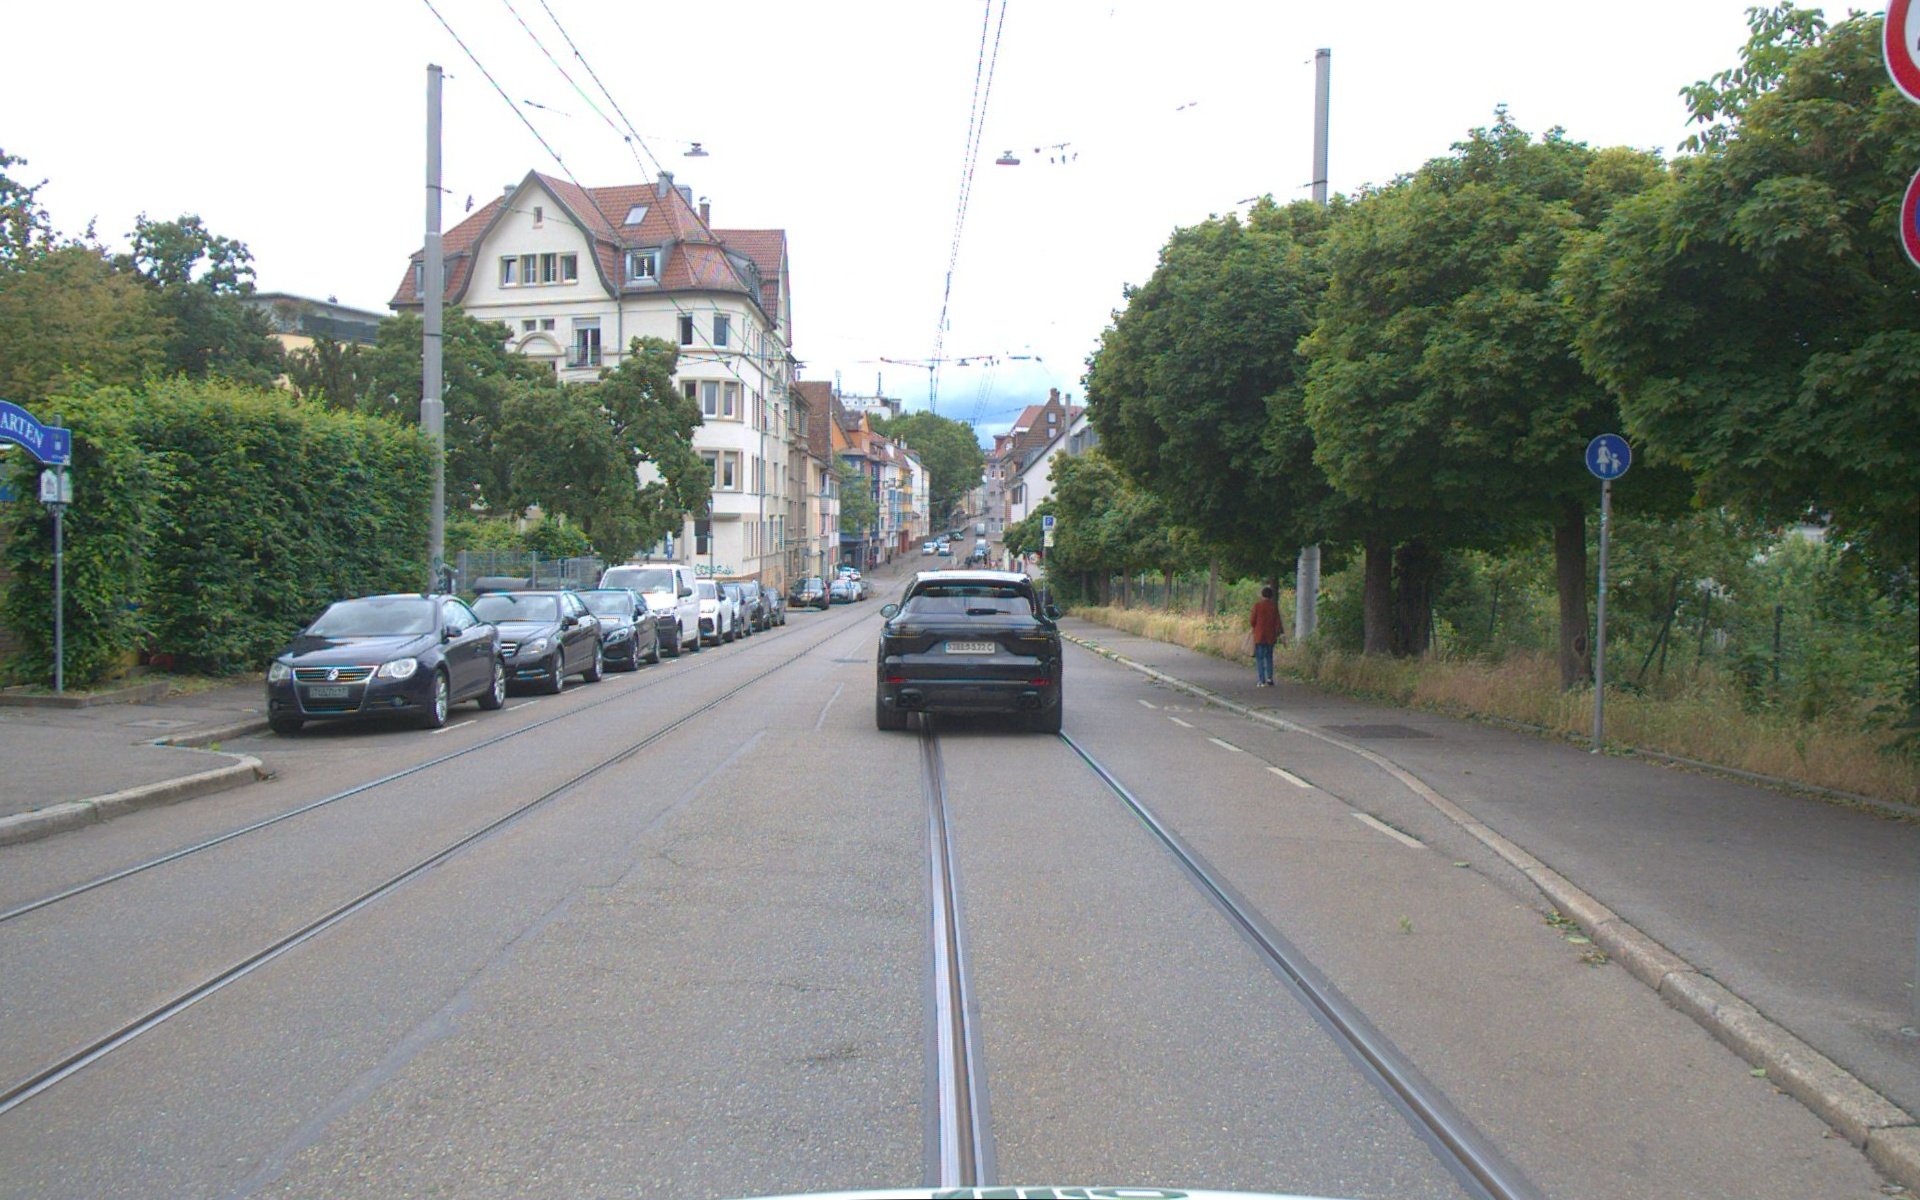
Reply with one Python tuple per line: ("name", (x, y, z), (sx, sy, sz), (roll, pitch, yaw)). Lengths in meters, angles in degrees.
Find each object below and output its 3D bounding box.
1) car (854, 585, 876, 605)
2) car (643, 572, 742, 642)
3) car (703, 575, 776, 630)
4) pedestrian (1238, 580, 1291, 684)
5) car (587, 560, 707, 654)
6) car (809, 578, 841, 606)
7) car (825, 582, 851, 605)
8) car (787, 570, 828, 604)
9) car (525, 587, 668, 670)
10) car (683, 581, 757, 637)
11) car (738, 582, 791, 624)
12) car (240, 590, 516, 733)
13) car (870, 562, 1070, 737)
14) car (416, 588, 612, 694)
("car", (-7.431, -0.363, 129.379), (1.588, 1.499, 4.554), (0, -1, -2))
("car", (-6.791, 0.188, 42.451), (1.929, 1.716, 4.631), (0, -1, -2))
("car", (-7.180, 0.098, 54.204), (1.929, 1.716, 4.442), (0, -1, -2))
("pedestrian", (4.886, 0.506, 26.583), (0.700, 1.649, 0.718), (1, 0, -1))
("car", (-6.843, 0.170, 36.634), (1.929, 1.946, 4.733), (0, -1, -2))
("car", (-7.469, -0.441, 91.444), (1.588, 1.489, 3.744), (0, -1, -2))
("car", (-8.081, -0.394, 109.981), (1.588, 1.489, 4.031), (0, -1, -2))
("car", (-7.832, -0.666, 85.309), (1.830, 1.674, 4.400), (0, -1, -2))
("car", (-6.628, 0.505, 30.629), (1.803, 1.411, 4.516), (0, -1, -2))
("car", (-6.895, 0.269, 47.876), (1.703, 1.535, 3.867), (0, -1, -2))
("car", (-7.141, 0.122, 60.642), (1.588, 1.503, 4.154), (0, -1, -2))
("car", (-6.368, 0.630, 18.600), (1.754, 1.429, 4.159), (0, -1, -2))
("car", (0.061, 0.482, 18.348), (1.953, 1.705, 3.999), (1, 0, -1))
("car", (-6.404, 0.561, 24.249), (1.803, 1.411, 4.438), (0, -1, -2))
